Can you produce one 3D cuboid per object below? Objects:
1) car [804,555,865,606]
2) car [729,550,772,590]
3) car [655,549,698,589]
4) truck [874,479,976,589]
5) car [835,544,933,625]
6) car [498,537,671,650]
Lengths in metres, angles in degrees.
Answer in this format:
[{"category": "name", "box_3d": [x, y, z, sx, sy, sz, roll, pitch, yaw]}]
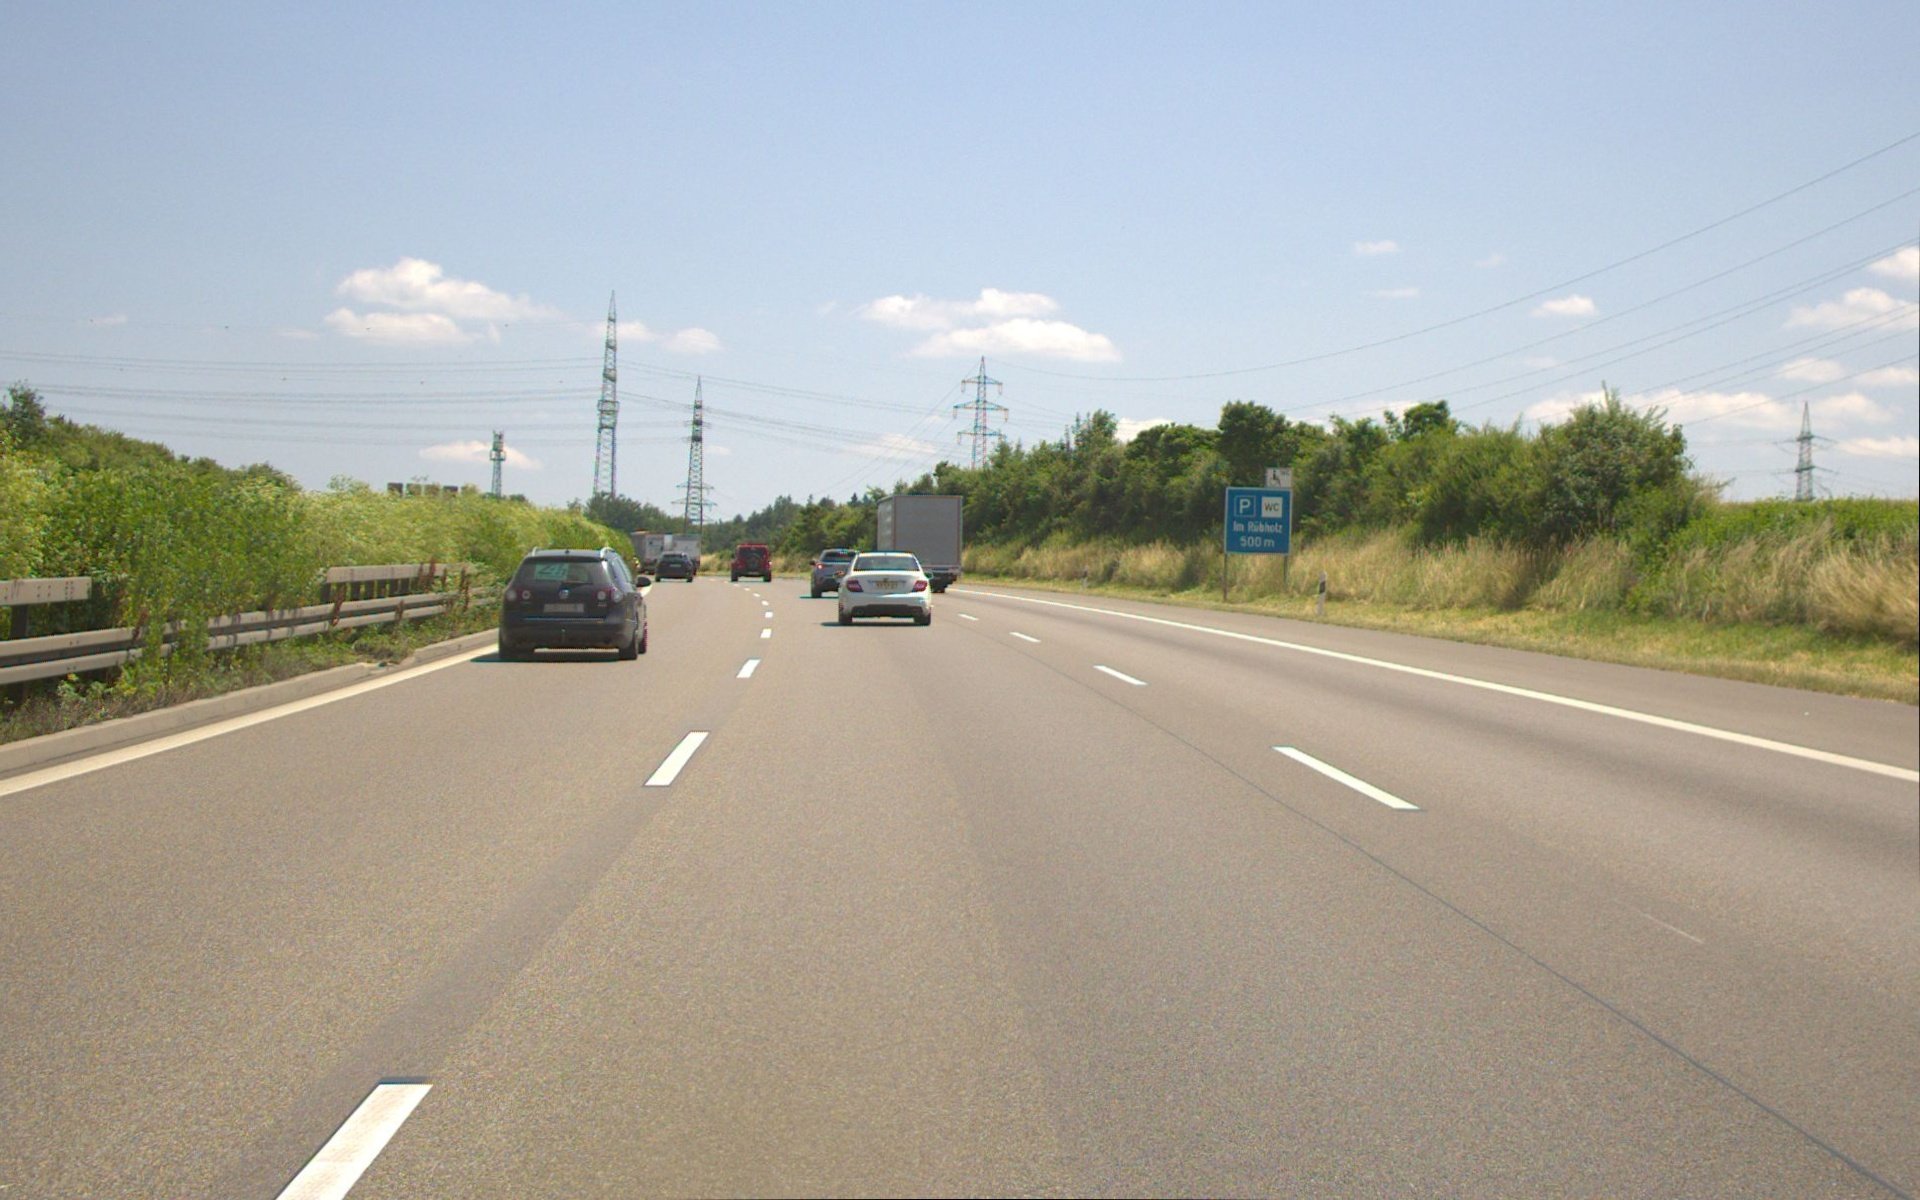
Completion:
[{"category": "car", "box_3d": [-3.913, -0.632, 107.691, 1.839, 1.535, 3.915, 0, 1, -1]}, {"category": "car", "box_3d": [-10.459, -1.514, 171.495, 1.901, 1.919, 4.001, 0, 1, -7]}, {"category": "car", "box_3d": [-13.592, -1.487, 165.132, 1.993, 1.853, 4.001, 0, 1, -4]}, {"category": "truck", "box_3d": [-1.375, -2.390, 127.943, 3.220, 3.911, 9.062, 1, 0, -4]}, {"category": "car", "box_3d": [-1.527, -0.338, 67.894, 1.819, 1.535, 3.915, 0, 1, -3]}, {"category": "car", "box_3d": [-4.939, -0.118, 45.670, 1.756, 1.424, 4.000, 0, 1, 2]}]
